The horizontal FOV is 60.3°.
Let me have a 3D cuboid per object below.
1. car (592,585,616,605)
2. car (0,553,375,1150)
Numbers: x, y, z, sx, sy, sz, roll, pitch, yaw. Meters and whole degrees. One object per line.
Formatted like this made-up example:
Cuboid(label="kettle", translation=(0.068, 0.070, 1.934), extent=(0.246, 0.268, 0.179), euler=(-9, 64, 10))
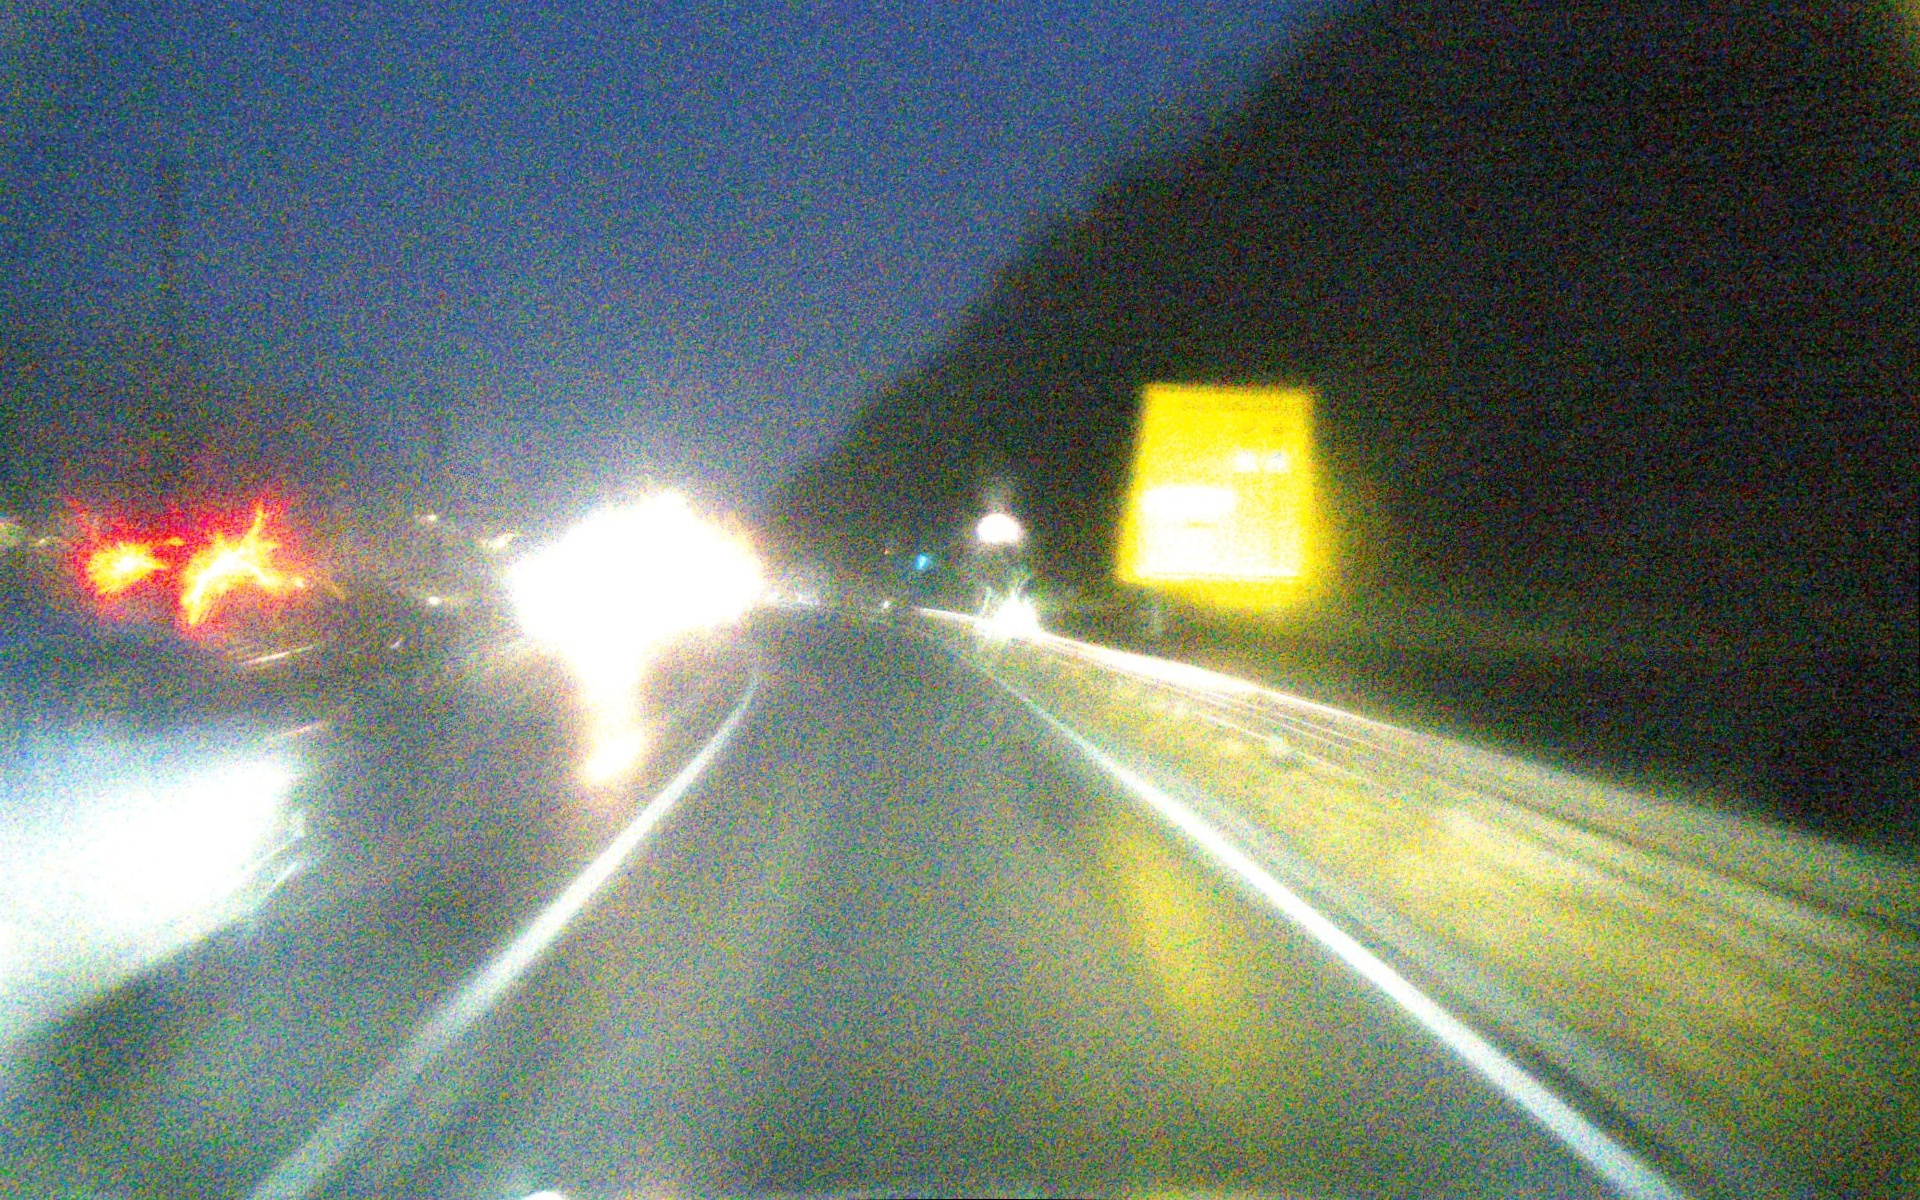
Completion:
Cuboid(label="car", translation=(-28.927, -0.400, 134.368), extent=(1.849, 1.628, 3.886), euler=(1, 0, -14))
Cuboid(label="car", translation=(-3.656, 0.697, 5.476), extent=(1.953, 1.641, 4.610), euler=(0, 0, -2))
